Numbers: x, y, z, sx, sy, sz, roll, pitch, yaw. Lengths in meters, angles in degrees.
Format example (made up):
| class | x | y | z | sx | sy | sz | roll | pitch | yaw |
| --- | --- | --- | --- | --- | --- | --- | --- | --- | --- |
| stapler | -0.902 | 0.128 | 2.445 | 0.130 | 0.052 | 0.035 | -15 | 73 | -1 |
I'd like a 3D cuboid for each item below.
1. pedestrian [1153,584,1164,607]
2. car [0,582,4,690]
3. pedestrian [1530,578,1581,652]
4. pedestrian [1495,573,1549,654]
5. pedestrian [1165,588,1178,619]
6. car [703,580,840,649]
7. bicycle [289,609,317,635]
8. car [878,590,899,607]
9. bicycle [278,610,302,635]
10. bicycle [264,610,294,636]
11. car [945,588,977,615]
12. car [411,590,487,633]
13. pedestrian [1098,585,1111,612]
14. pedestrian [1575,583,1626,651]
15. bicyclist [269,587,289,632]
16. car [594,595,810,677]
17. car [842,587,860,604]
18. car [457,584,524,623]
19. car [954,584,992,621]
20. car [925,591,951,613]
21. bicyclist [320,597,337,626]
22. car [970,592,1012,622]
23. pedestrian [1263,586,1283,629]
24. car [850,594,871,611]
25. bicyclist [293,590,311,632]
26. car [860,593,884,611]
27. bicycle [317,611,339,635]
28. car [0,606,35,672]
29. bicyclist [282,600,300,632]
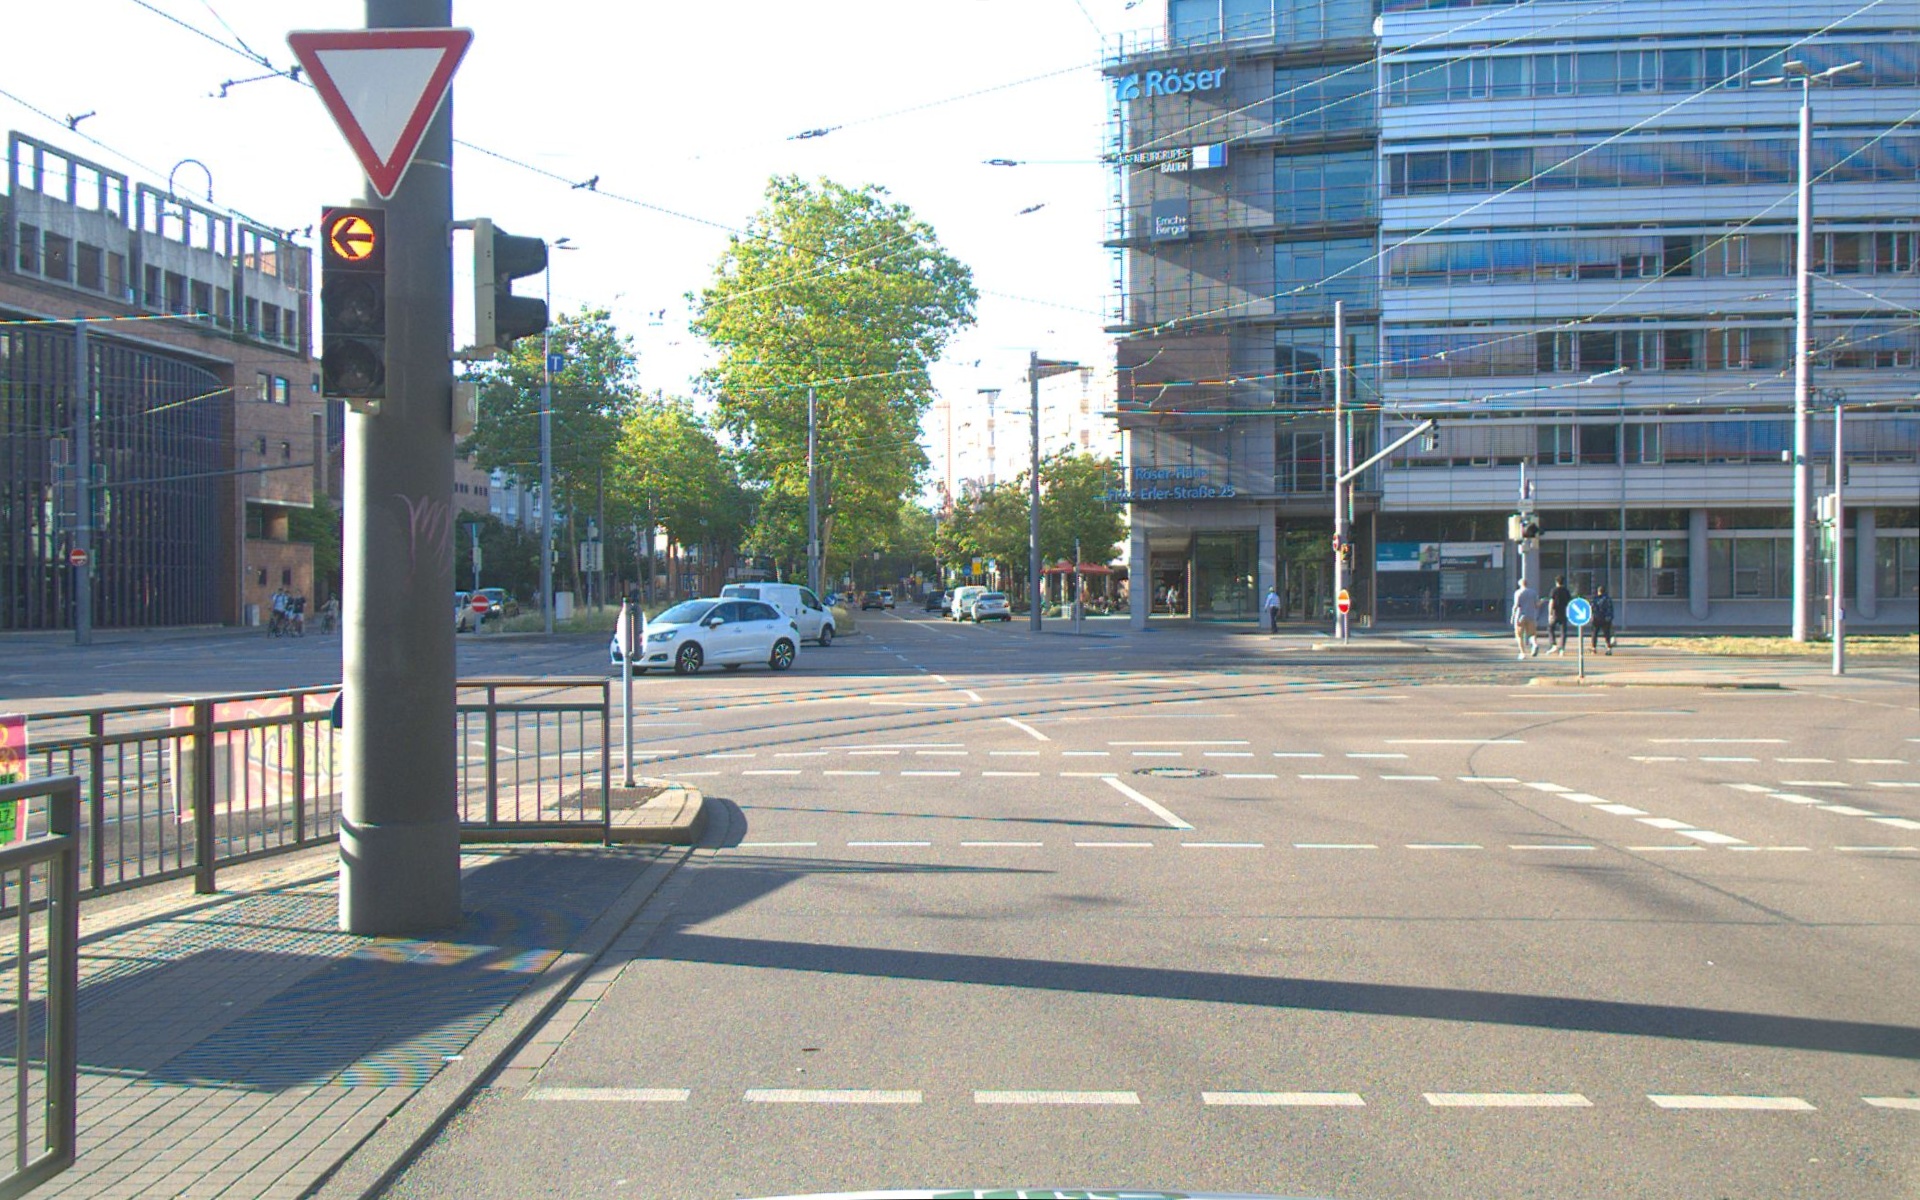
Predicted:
| class | x | y | z | sx | sy | sz | roll | pitch | yaw |
| --- | --- | --- | --- | --- | --- | --- | --- | --- | --- |
| pedestrian | 15.464 | -0.361 | 129.002 | 0.729 | 1.744 | 0.612 | -1 | 0 | -1 |
| car | -19.191 | 0.657 | 27.689 | 5.282 | 1.881 | 1.938 | -1 | 0 | -41 |
| pedestrian | 14.194 | 0.350 | 39.449 | 0.893 | 1.714 | 1.036 | -1 | 0 | 6 |
| pedestrian | 12.830 | 0.300 | 37.771 | 0.847 | 1.820 | 0.870 | -1 | 0 | -8 |
| pedestrian | 10.429 | 0.177 | 81.583 | 0.599 | 1.534 | 0.579 | -1 | 0 | 7 |
| car | -5.391 | 0.393 | 47.976 | 1.721 | 1.899 | 4.520 | -1 | 0 | 27 |
| bicycle | -25.976 | 0.869 | 65.414 | 0.463 | 0.980 | 1.575 | -1 | 0 | -1 |
| car | -6.321 | -0.138 | 146.753 | 1.761 | 1.467 | 3.999 | -1 | 0 | -1 |
| bicycle | -27.633 | 0.914 | 68.241 | 0.458 | 0.980 | 1.320 | -1 | 0 | -1 |
| bicycle | -26.828 | 0.899 | 65.152 | 0.531 | 0.980 | 1.586 | -1 | 0 | -1 |
| car | 0.037 | 0.072 | 105.208 | 1.953 | 1.646 | 3.999 | -1 | 0 | -1 |
| car | -20.667 | 0.447 | 67.034 | 1.953 | 1.668 | 3.999 | -1 | 0 | -2 |
| pedestrian | 9.174 | -0.096 | 105.046 | 0.729 | 1.744 | 0.612 | -1 | 0 | -1 |
| pedestrian | 15.245 | 0.403 | 39.396 | 0.928 | 1.591 | 0.897 | -1 | 0 | 6 |
| bicyclist | -26.815 | 0.384 | 65.137 | 0.525 | 1.761 | 0.581 | -1 | 0 | -1 |
| car | -5.167 | 0.677 | 33.596 | 1.729 | 1.514 | 4.286 | -1 | 0 | 40 |
| car | -13.449 | -0.620 | 203.900 | 1.953 | 2.049 | 3.999 | -1 | 0 | -1 |
| car | -21.120 | 0.147 | 74.593 | 1.953 | 1.668 | 3.999 | -1 | 0 | -2 |
| car | 0.688 | 0.117 | 89.572 | 1.953 | 1.892 | 3.999 | -1 | 0 | -1 |
| car | -1.677 | 0.132 | 126.632 | 1.953 | 1.646 | 3.999 | -1 | 0 | -1 |
| bicyclist | -27.133 | 0.492 | 71.065 | 0.495 | 1.199 | 0.581 | -1 | 0 | -1 |
| car | 1.537 | 0.338 | 82.786 | 1.953 | 1.400 | 3.999 | -1 | 0 | -1 |
| pedestrian | 11.521 | 0.273 | 60.873 | 0.599 | 1.534 | 0.579 | -1 | 0 | 0 |
| car | -8.849 | 0.220 | 146.920 | 1.762 | 1.467 | 3.998 | 1 | 0 | -3 |
| bicyclist | -26.005 | 0.436 | 65.368 | 0.449 | 1.631 | 0.581 | -1 | 0 | -1 |
| car | -7.077 | 0.145 | 133.806 | 1.761 | 1.467 | 3.999 | -1 | 0 | -1 |
| bicycle | -27.135 | 0.988 | 71.003 | 0.442 | 0.980 | 1.347 | -1 | 0 | -1 |
| car | -22.197 | 0.875 | 37.138 | 1.601 | 1.451 | 4.084 | -1 | 0 | -17 |
| bicyclist | -27.607 | 0.651 | 68.217 | 0.495 | 1.327 | 0.581 | -1 | 0 | -1 |
